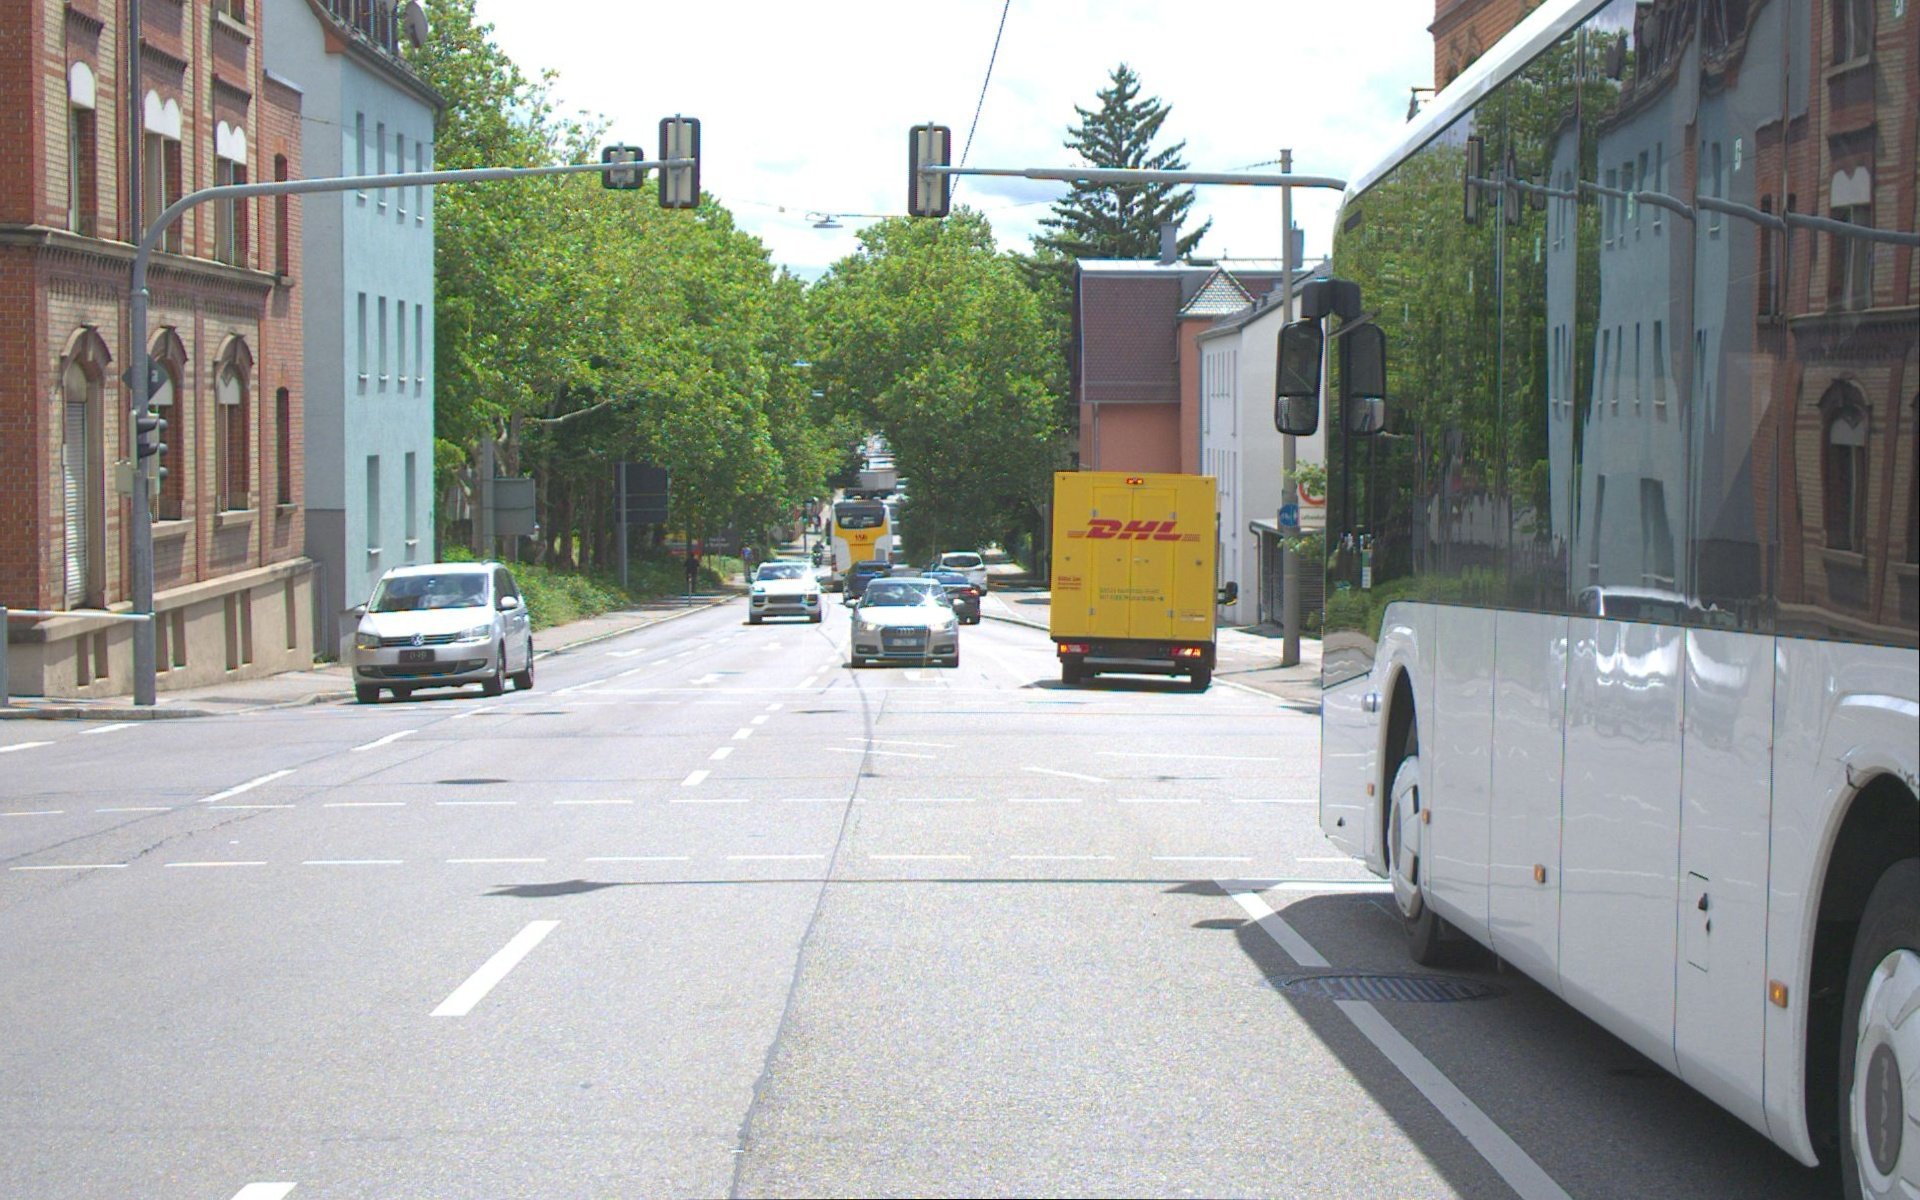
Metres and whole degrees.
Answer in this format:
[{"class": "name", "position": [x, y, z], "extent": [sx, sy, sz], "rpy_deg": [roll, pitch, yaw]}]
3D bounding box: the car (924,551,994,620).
[{"class": "car", "position": [-0.054, -0.410, 92.444], "extent": [1.819, 1.778, 4.000], "rpy_deg": [-1, 1, -1]}]

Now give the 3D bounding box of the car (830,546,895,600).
[{"class": "car", "position": [-3.374, -0.963, 118.659], "extent": [2.091, 1.824, 4.143], "rpy_deg": [0, 1, -4]}]

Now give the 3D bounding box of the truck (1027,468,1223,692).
[{"class": "truck", "position": [2.385, -0.294, 48.465], "extent": [2.541, 2.903, 6.571], "rpy_deg": [1, 1, 4]}]

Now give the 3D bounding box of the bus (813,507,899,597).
[{"class": "bus", "position": [-4.421, -2.021, 144.035], "extent": [3.300, 3.618, 11.246], "rpy_deg": [-1, 1, -3]}]

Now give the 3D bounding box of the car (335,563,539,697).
[{"class": "car", "position": [-6.529, 0.336, 43.327], "extent": [1.935, 1.558, 4.389], "rpy_deg": [-1, 1, -1]}]

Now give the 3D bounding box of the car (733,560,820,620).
[{"class": "car", "position": [-5.058, -0.297, 95.286], "extent": [2.207, 1.607, 4.547], "rpy_deg": [-1, 1, -1]}]

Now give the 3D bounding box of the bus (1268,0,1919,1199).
[{"class": "bus", "position": [2.947, -0.431, 9.363], "extent": [2.904, 3.498, 12.488], "rpy_deg": [1, 1, -1]}]

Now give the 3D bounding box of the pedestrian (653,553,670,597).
[{"class": "pedestrian", "position": [-11.847, -1.001, 136.418], "extent": [0.606, 1.752, 0.654], "rpy_deg": [-1, 1, -2]}]

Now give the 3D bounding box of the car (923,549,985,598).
[{"class": "car", "position": [-0.245, -1.016, 129.556], "extent": [2.091, 1.824, 4.143], "rpy_deg": [0, 1, -4]}]

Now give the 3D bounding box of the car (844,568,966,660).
[{"class": "car", "position": [-0.869, 0.193, 55.078], "extent": [1.865, 1.363, 4.547], "rpy_deg": [-1, 1, -1]}]

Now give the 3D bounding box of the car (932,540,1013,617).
[{"class": "car", "position": [0.317, -0.606, 92.491], "extent": [1.993, 2.007, 4.001], "rpy_deg": [-1, 1, -2]}]
